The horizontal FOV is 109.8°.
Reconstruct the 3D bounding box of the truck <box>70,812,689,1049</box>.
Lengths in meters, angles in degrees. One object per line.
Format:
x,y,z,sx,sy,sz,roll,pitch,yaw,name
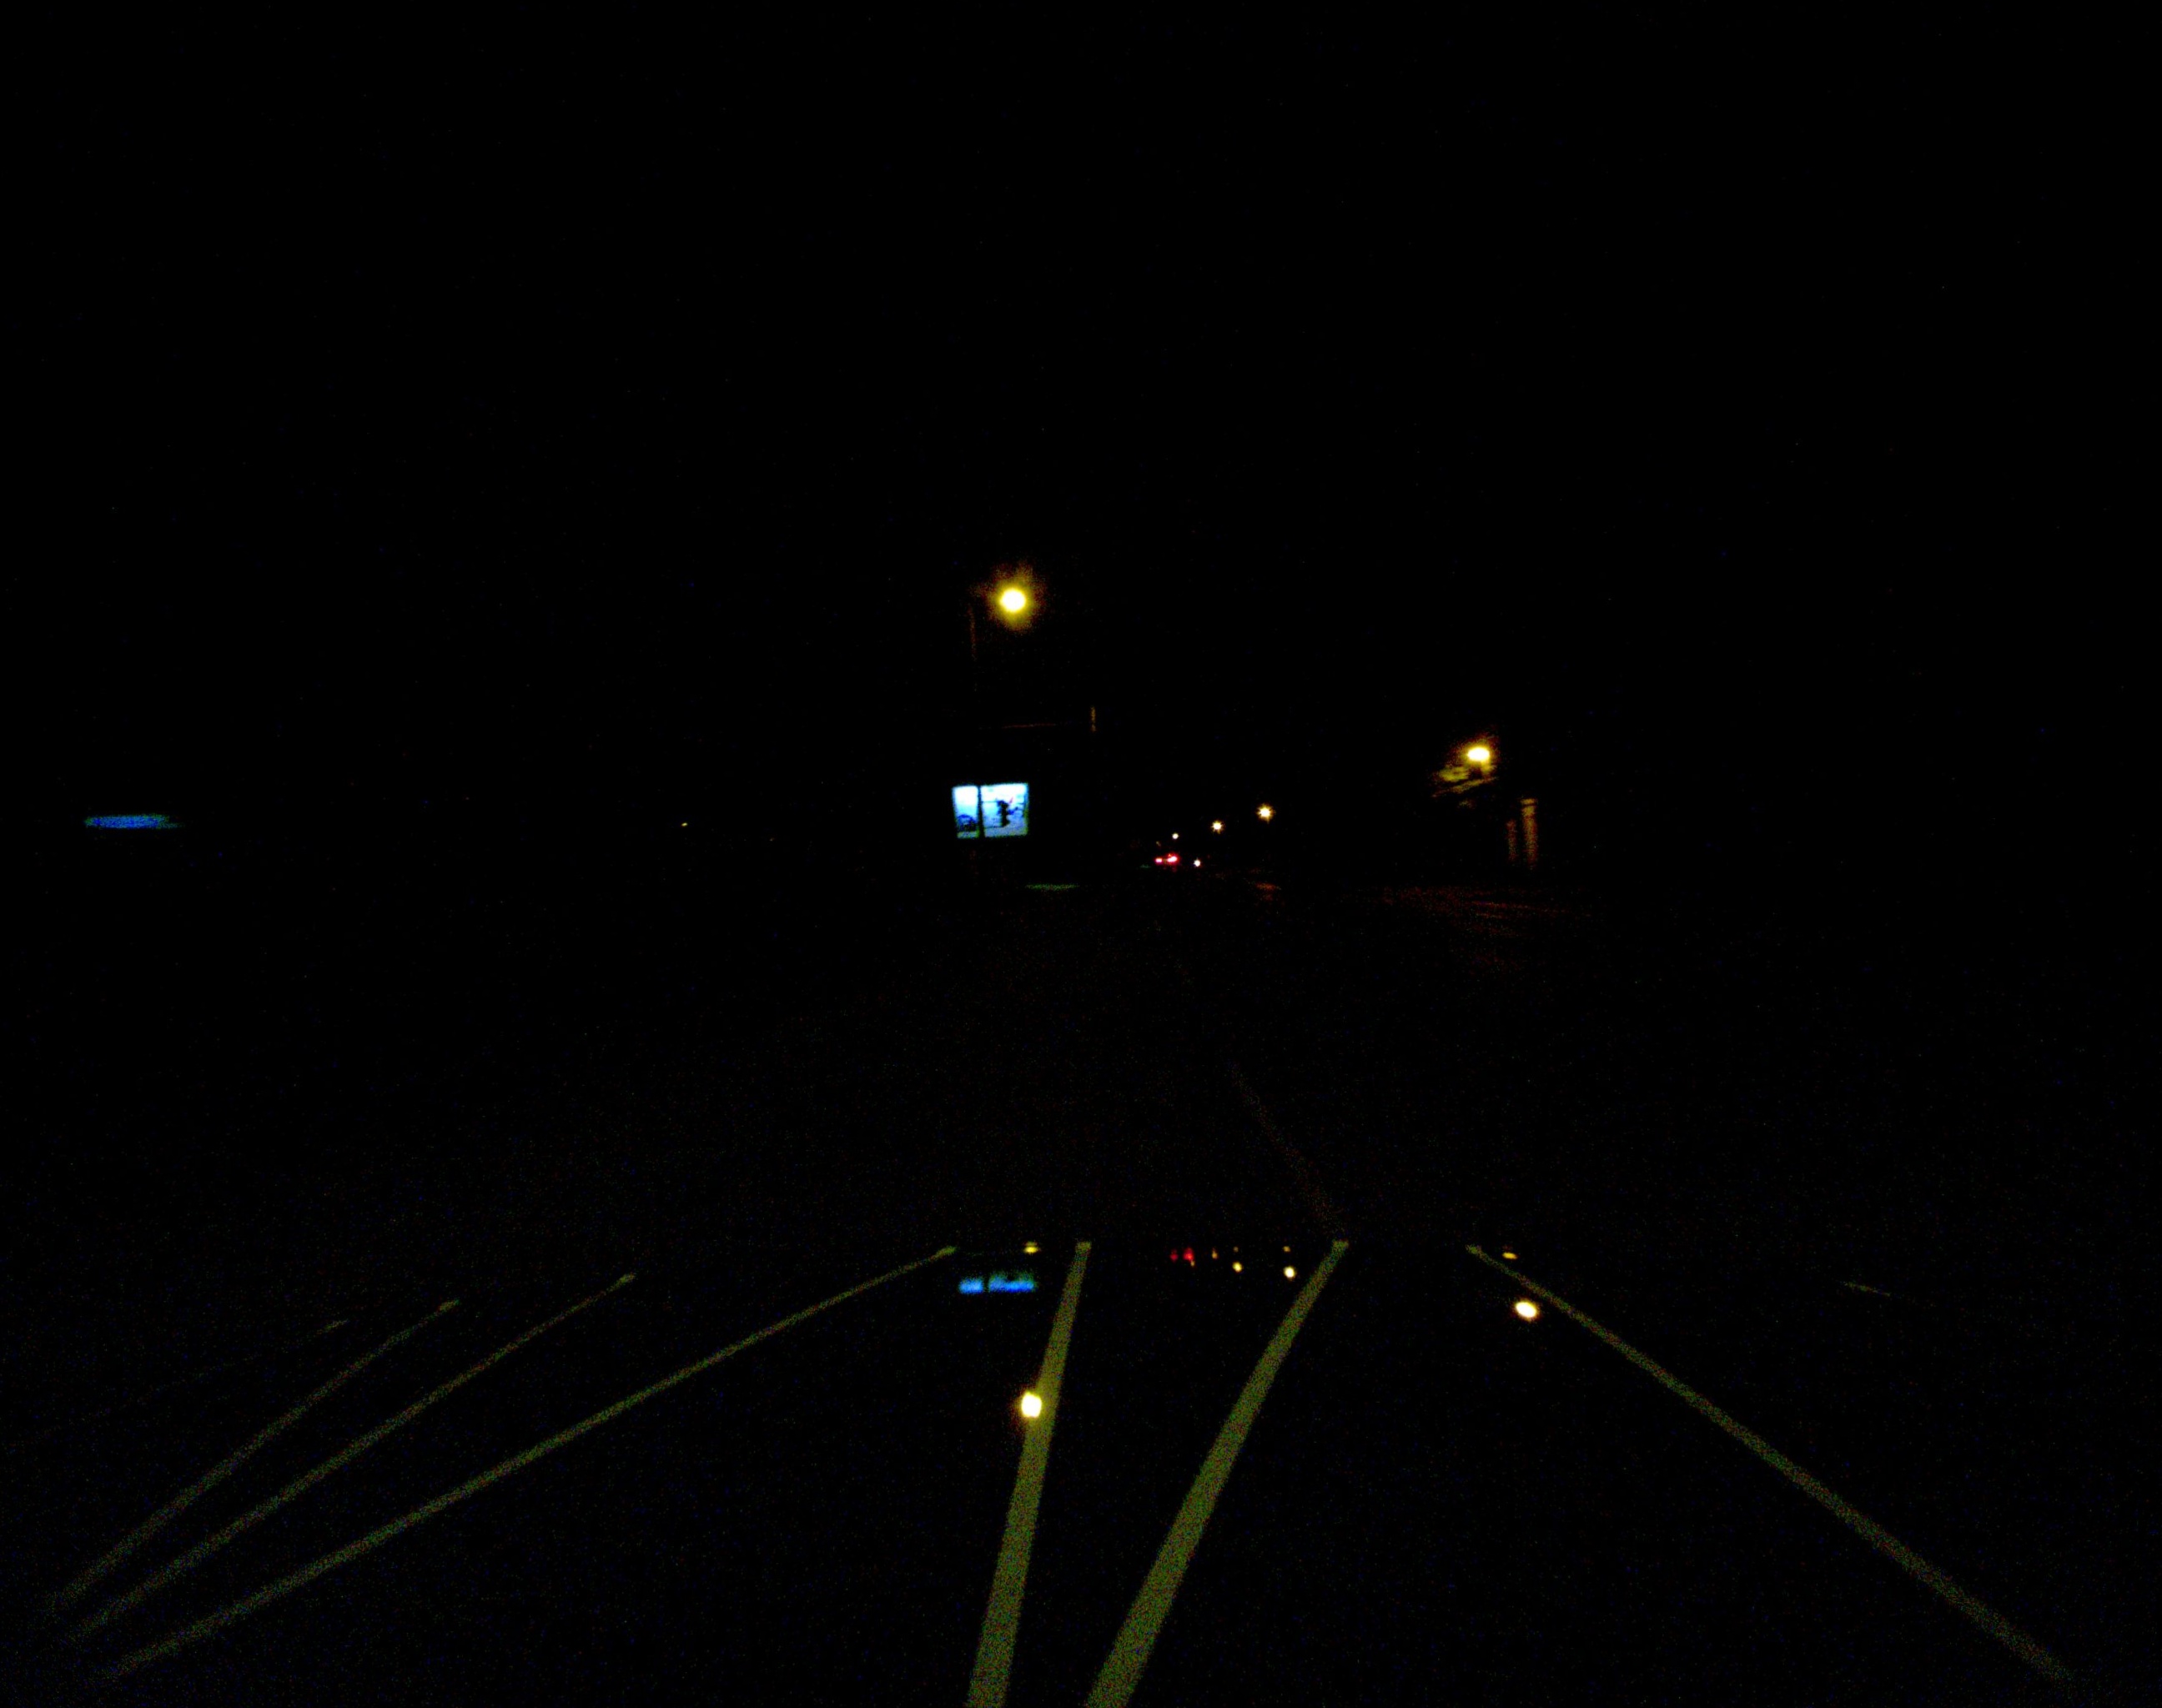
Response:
-9.352,0.821,11.701,2.188,2.408,7.318,-3,0,5,truck

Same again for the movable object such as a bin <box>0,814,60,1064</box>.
-12.926,0.980,6.777,2.232,2.708,3.865,-3,0,1,movable object such as a bin

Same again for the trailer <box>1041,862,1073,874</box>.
-2.301,1.377,76.147,2.178,0.961,9.619,-4,-1,4,trailer

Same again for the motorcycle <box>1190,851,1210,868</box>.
9.812,0.456,62.920,1.000,1.297,2.825,-3,0,-3,motorcycle

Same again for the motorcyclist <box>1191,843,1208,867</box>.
9.795,0.058,62.967,1.137,1.889,0.833,-3,1,-3,motorcyclist

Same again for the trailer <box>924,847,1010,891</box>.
-5.464,0.715,36.689,3.754,2.002,1.615,-1,0,8,trailer

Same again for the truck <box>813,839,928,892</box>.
-11.577,0.640,42.101,5.543,2.584,2.473,-3,0,2,truck

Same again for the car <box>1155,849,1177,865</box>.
9.316,0.344,83.896,1.998,1.617,4.753,-3,0,2,car

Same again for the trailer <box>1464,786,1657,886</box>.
14.003,-0.499,22.427,4.358,2.704,2.000,-1,0,2,trailer

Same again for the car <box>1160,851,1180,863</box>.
11.926,0.378,102.007,1.853,1.436,4.915,-3,0,-1,car

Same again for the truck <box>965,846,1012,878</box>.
-7.079,0.576,59.236,2.383,2.270,7.744,-3,0,2,truck

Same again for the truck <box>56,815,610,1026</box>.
-12.385,0.890,13.887,2.188,2.732,7.319,-3,0,7,truck

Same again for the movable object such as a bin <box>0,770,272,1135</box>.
-7.812,0.692,5.661,1.684,2.369,1.615,-3,0,-8,movable object such as a bin

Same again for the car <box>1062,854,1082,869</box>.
-1.018,0.869,85.062,1.940,1.543,3.999,-3,0,-3,car

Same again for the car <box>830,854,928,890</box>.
-11.822,1.019,44.608,5.084,1.825,1.990,-3,0,5,car

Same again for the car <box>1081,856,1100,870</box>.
1.104,1.082,91.627,1.999,1.542,4.325,-3,-1,-3,car
